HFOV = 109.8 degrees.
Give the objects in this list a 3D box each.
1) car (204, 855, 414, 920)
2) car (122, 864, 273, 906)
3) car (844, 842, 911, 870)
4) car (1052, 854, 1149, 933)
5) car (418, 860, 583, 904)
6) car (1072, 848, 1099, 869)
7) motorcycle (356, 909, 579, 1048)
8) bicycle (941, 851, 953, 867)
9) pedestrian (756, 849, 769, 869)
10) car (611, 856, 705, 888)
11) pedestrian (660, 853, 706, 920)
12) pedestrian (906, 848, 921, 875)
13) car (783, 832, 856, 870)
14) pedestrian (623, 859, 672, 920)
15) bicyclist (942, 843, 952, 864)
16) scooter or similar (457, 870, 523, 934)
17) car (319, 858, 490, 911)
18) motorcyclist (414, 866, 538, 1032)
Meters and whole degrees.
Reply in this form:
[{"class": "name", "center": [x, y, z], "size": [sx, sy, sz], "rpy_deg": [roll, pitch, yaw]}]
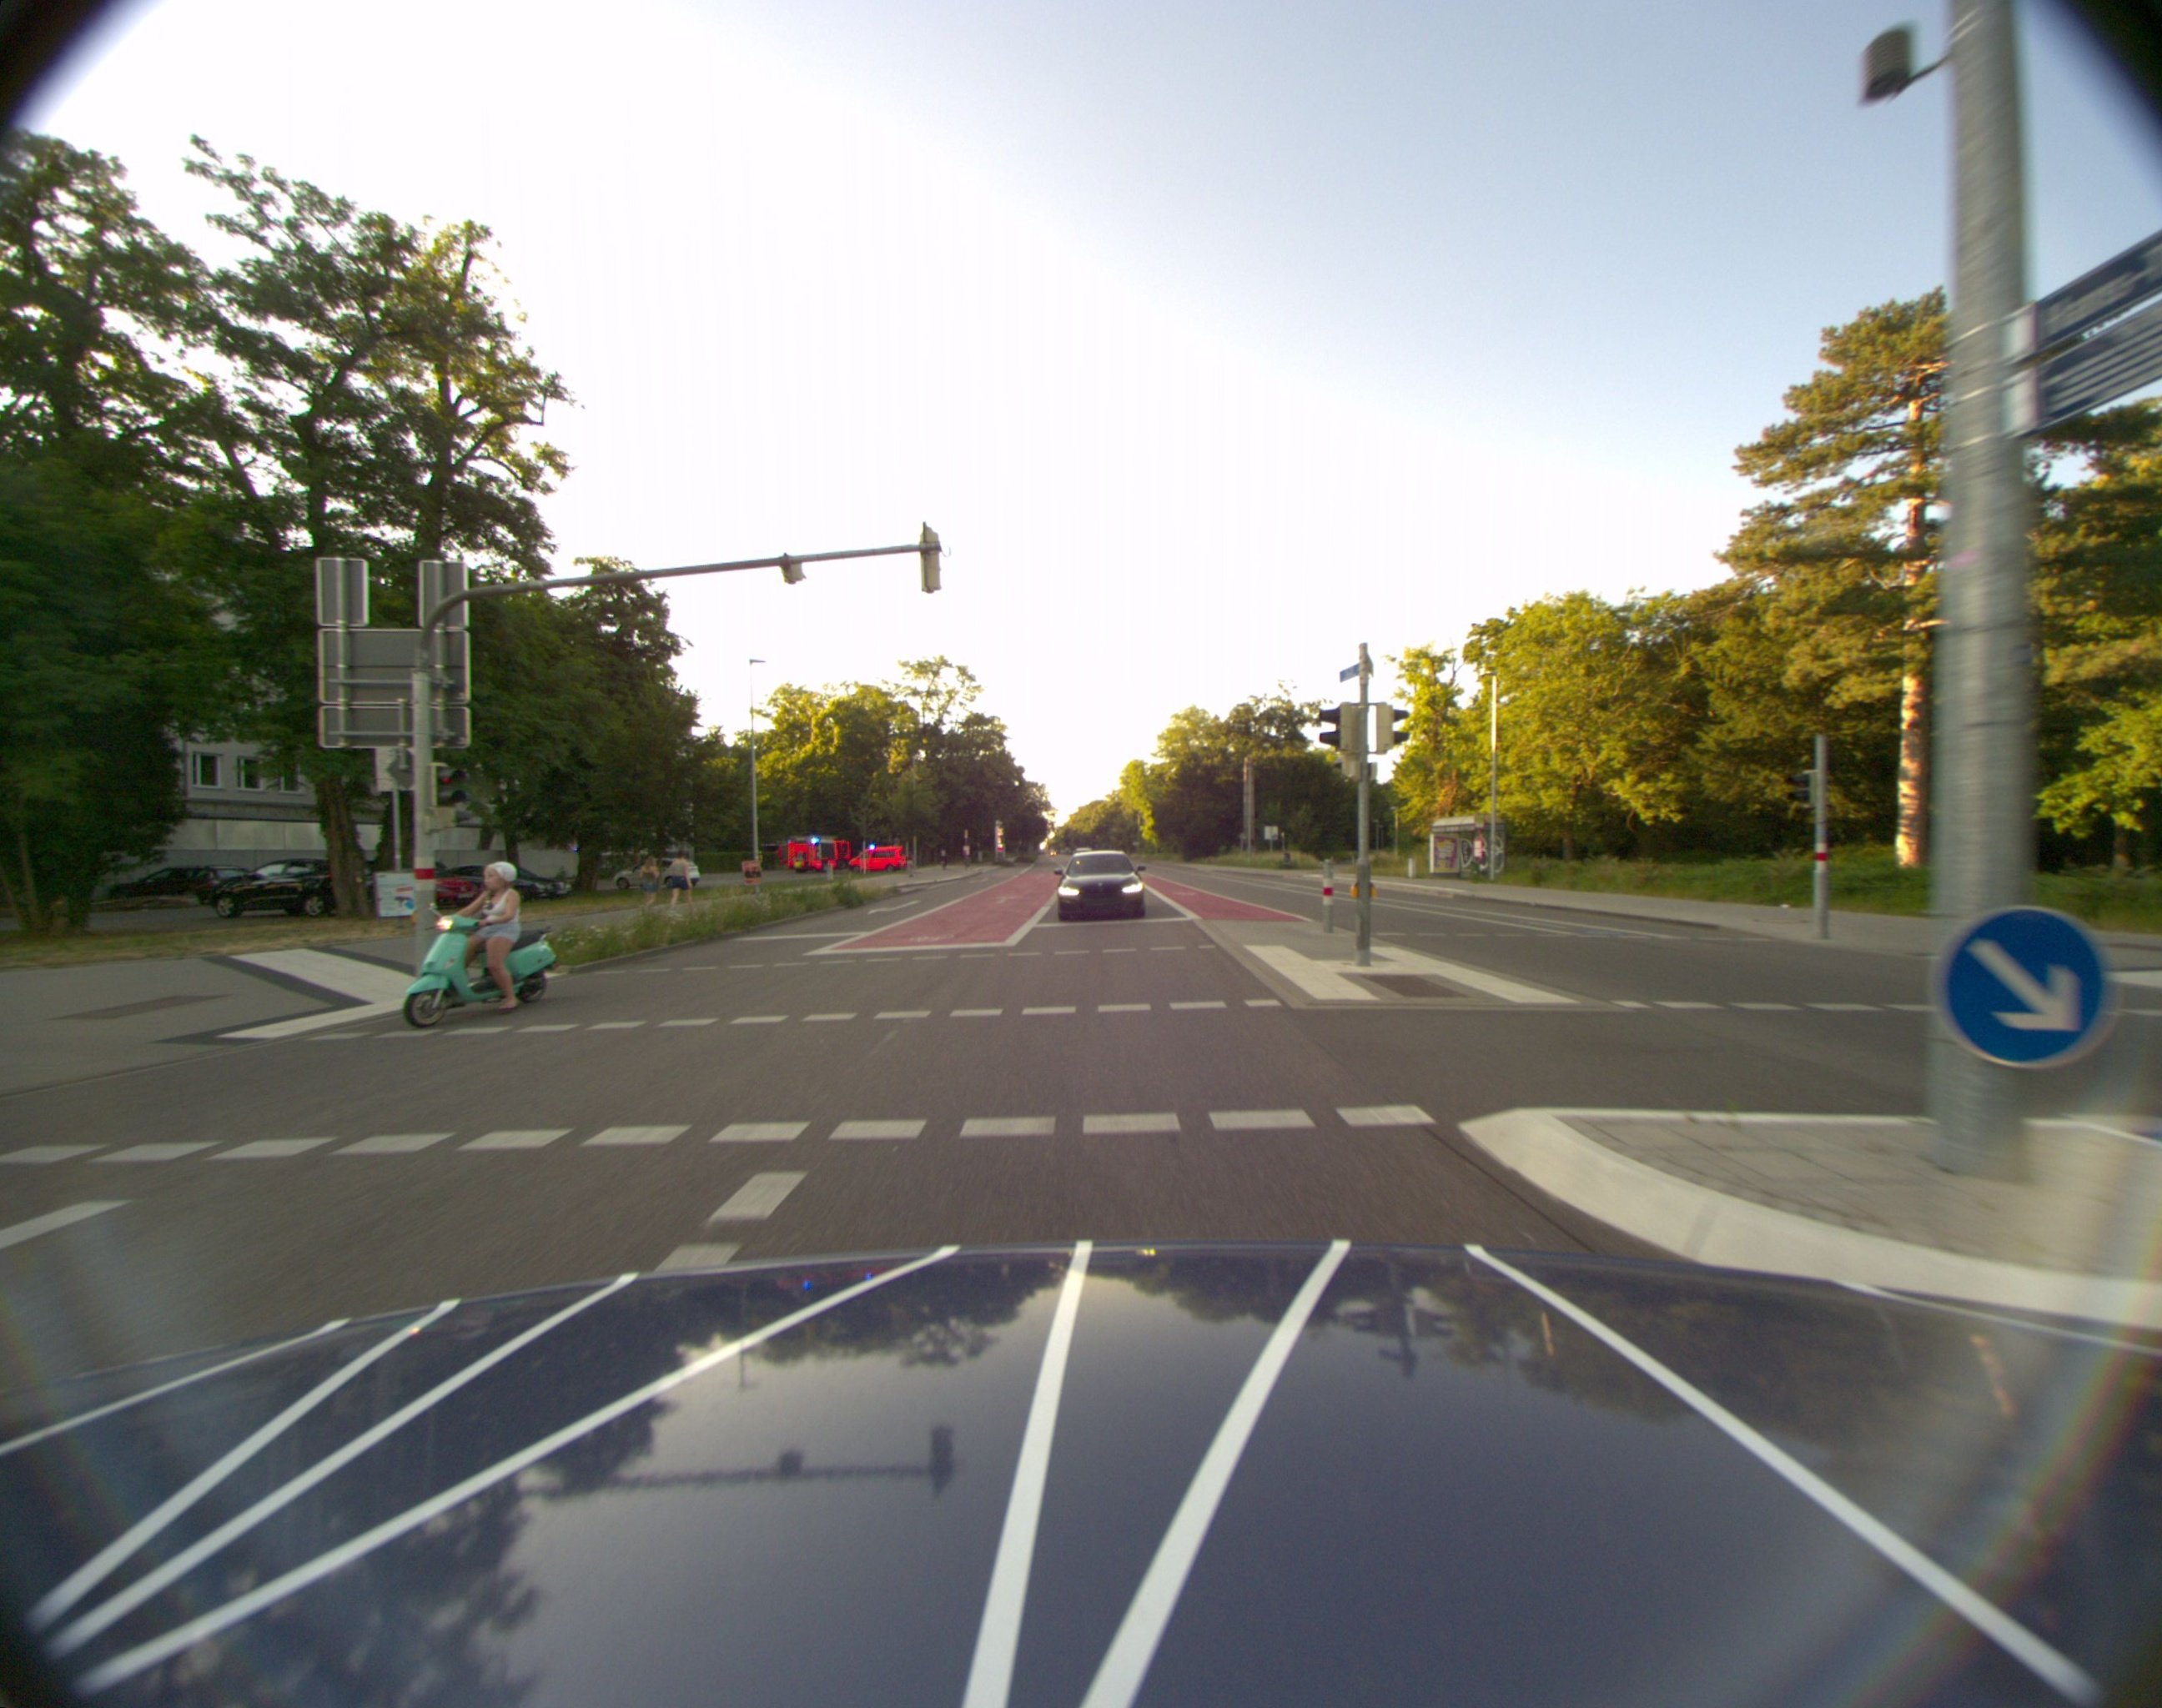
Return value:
[{"class": "car", "center": [-21.835, 0.918, 21.588], "size": [4.234, 1.730, 1.919], "rpy_deg": [0, 1, 6]}, {"class": "car", "center": [-32.898, 1.151, 28.360], "size": [3.624, 1.451, 1.770], "rpy_deg": [-1, 1, 2]}, {"class": "car", "center": [-17.583, 0.185, 65.695], "size": [5.164, 2.379, 2.000], "rpy_deg": [0, 1, 3]}, {"class": "car", "center": [0.344, 0.760, 17.200], "size": [1.818, 1.391, 5.212], "rpy_deg": [-2, 1, -1]}, {"class": "car", "center": [-20.883, 0.984, 27.453], "size": [4.516, 1.455, 1.919], "rpy_deg": [0, 1, 3]}, {"class": "car", "center": [0.310, 0.337, 58.681], "size": [1.850, 1.473, 4.702], "rpy_deg": [-3, 1, -2]}, {"class": "motorcycle", "center": [-6.603, 1.282, 8.336], "size": [0.683, 1.190, 1.895], "rpy_deg": [-1, 0, 9]}, {"class": "bicycle", "center": [-10.350, 0.383, 58.834], "size": [0.571, 1.233, 1.899], "rpy_deg": [-1, 1, 1]}, {"class": "pedestrian", "center": [-29.161, 0.484, 69.579], "size": [0.681, 1.831, 0.847], "rpy_deg": [0, 1, 40]}, {"class": "car", "center": [-20.475, 0.864, 36.872], "size": [3.662, 1.451, 1.665], "rpy_deg": [0, 1, 5]}, {"class": "pedestrian", "center": [-10.051, 0.815, 19.224], "size": [0.721, 1.650, 0.776], "rpy_deg": [-1, 1, 0]}, {"class": "pedestrian", "center": [-10.204, 0.474, 46.301], "size": [0.682, 1.613, 0.688], "rpy_deg": [-1, 0, 1]}, {"class": "car", "center": [-23.267, -0.283, 68.227], "size": [2.770, 3.225, 8.301], "rpy_deg": [0, 1, 7]}, {"class": "pedestrian", "center": [-10.971, 0.883, 19.262], "size": [0.737, 1.514, 0.789], "rpy_deg": [-1, 1, 1]}, {"class": "bicyclist", "center": [-10.357, -0.028, 58.900], "size": [0.571, 1.623, 1.038], "rpy_deg": [-1, 1, 1]}, {"class": "scooter or similar", "center": [-12.440, 0.993, 16.021], "size": [0.441, 1.264, 1.179], "rpy_deg": [-1, 1, 0]}, {"class": "car", "center": [-21.668, 0.954, 24.424], "size": [3.994, 1.601, 1.920], "rpy_deg": [0, 1, 8]}, {"class": "motorcyclist", "center": [-6.613, 1.006, 8.336], "size": [0.739, 1.727, 0.691], "rpy_deg": [-1, 1, 9]}]
